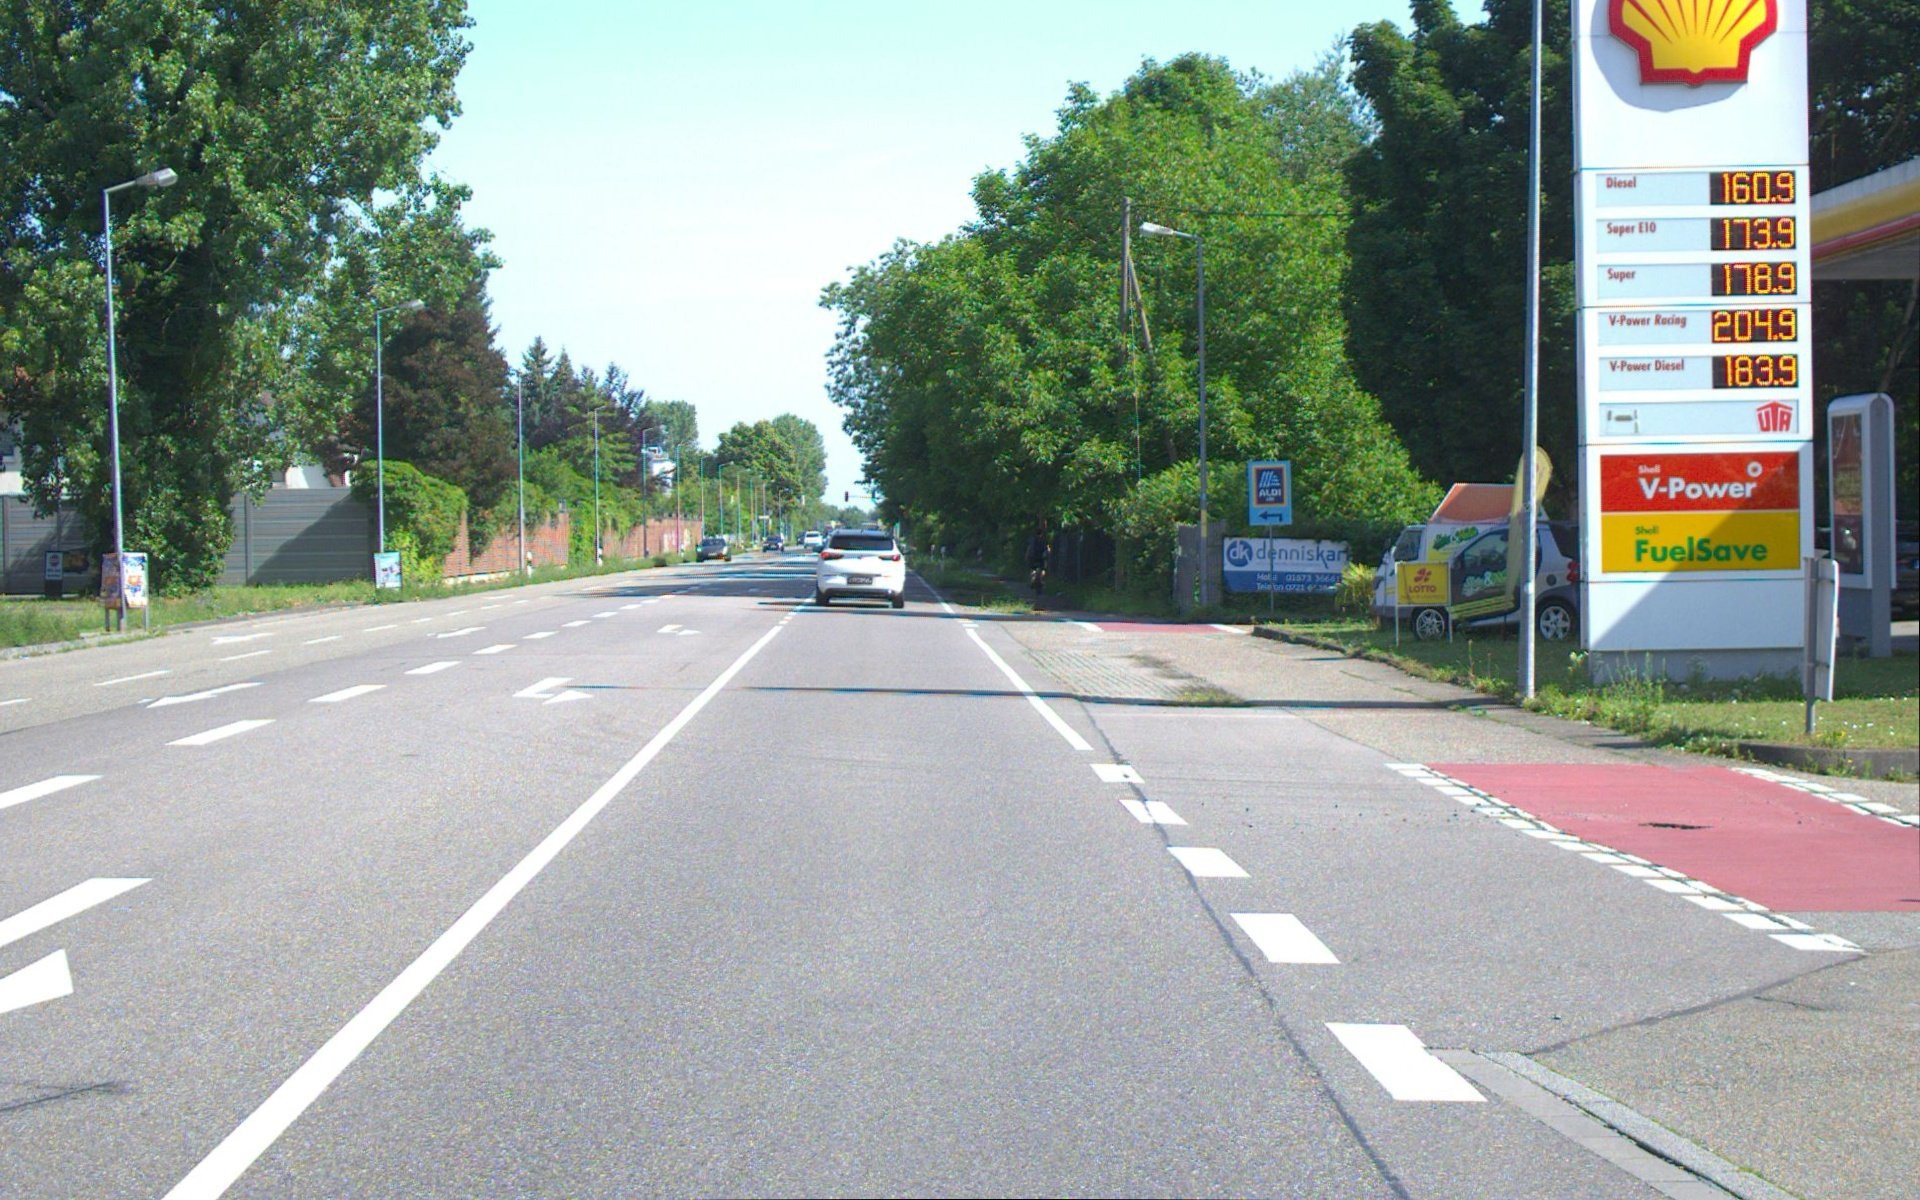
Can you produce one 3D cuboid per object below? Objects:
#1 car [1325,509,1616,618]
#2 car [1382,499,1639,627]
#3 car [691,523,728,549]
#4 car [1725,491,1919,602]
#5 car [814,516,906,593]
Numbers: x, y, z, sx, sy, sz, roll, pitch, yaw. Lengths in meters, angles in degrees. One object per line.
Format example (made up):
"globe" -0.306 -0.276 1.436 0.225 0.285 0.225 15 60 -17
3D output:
"car" 7.620 -0.544 51.475 3.986 1.525 1.586 1 1 -8
"car" 6.819 -0.447 42.693 2.729 1.525 1.574 0 0 43
"car" -14.927 -3.807 205.014 1.847 1.491 4.912 -2 1 -1
"car" 14.423 -0.889 57.707 1.993 1.759 4.001 1 1 -4
"car" -2.084 -0.951 72.074 1.847 1.536 4.225 1 1 -1
